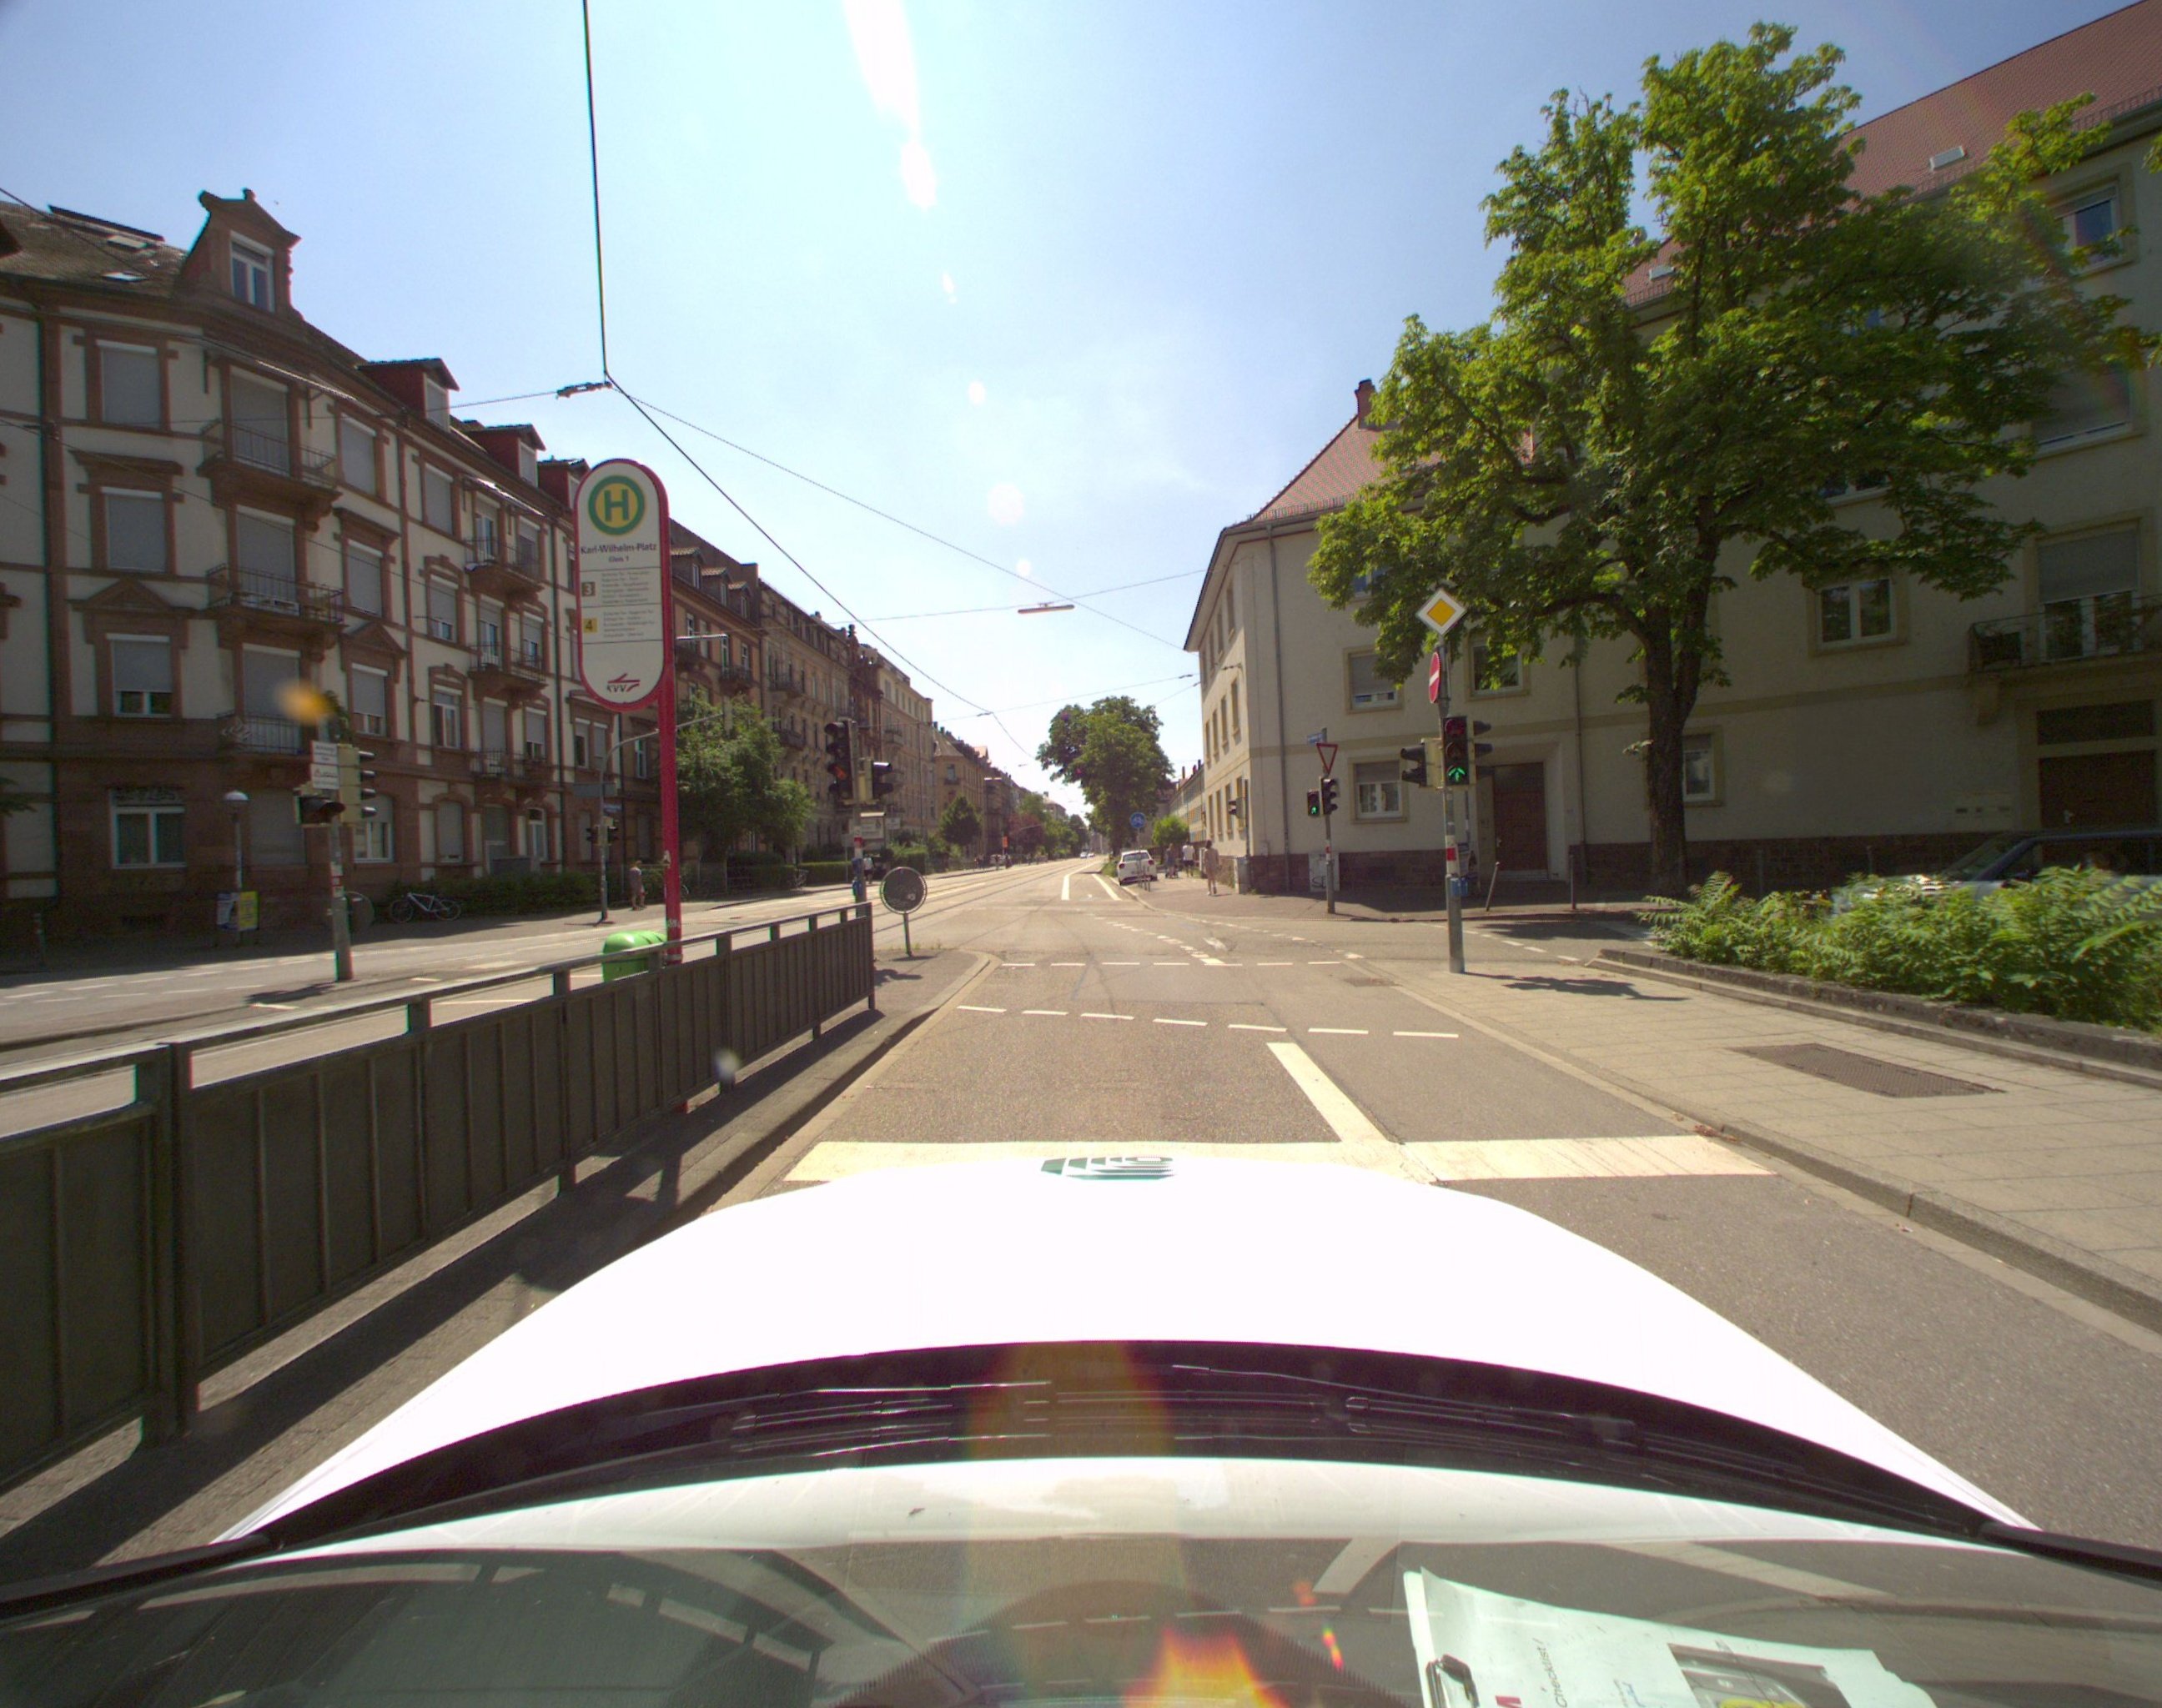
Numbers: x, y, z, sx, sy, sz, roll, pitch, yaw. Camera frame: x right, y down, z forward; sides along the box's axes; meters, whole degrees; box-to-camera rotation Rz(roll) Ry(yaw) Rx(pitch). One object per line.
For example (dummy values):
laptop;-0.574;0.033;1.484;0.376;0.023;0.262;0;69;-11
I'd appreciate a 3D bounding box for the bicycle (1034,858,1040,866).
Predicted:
bicycle;-6.254;1.070;115.850;0.579;1.078;1.892;-3;0;2

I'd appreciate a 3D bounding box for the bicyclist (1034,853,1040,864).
bicyclist;-6.282;0.664;115.870;0.590;1.544;0.953;-3;0;2

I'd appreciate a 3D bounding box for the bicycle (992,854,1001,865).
bicycle;-8.445;0.541;81.845;0.565;1.038;1.830;-2;0;3

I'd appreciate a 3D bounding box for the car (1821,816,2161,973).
car;10.231;0.372;8.513;1.705;1.445;3.581;-2;0;-45

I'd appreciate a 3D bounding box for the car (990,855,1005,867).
car;-11.842;0.978;116.145;1.861;1.600;4.098;-1;0;-2

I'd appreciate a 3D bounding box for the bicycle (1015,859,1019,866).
bicycle;-9.790;1.361;125.142;0.452;1.003;1.806;-2;0;-1

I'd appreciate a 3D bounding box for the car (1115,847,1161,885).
car;2.546;0.517;37.231;1.771;1.410;4.158;-7;0;1

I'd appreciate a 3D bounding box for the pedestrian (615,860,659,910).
pedestrian;-15.592;1.067;28.609;0.867;1.700;1.016;-2;0;8

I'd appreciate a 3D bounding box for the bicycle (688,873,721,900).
bicycle;-15.605;1.345;33.806;0.457;1.056;1.567;-2;0;6

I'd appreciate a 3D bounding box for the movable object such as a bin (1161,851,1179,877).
movable object such as a bin;4.213;0.475;38.723;0.695;1.186;1.037;-5;0;2

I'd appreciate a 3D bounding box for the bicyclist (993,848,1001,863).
bicyclist;-8.460;0.154;81.815;0.560;1.515;0.892;-2;0;3

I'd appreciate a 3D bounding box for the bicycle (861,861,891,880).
bicycle;-14.154;1.132;56.246;1.864;1.227;0.568;0;0;-1

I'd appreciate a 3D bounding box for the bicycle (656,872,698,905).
bicycle;-15.688;1.324;31.652;0.570;1.169;1.719;-2;0;6

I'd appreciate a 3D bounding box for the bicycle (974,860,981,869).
bicycle;-11.439;1.149;90.053;0.437;0.983;1.711;-2;0;1

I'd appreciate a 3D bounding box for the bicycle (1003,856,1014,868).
bicycle;-8.118;0.852;91.167;0.804;1.271;2.553;-2;0;3

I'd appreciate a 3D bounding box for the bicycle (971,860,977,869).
bicycle;-11.549;1.133;88.013;0.437;0.983;1.711;-2;0;1

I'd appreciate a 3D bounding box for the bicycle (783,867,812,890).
bicycle;-14.398;1.227;41.376;0.635;1.093;1.934;0;0;6

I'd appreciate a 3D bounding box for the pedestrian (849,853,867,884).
pedestrian;-13.567;0.860;49.580;0.812;1.857;0.877;-2;0;-3

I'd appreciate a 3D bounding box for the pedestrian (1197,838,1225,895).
pedestrian;3.938;0.359;24.675;0.695;1.669;0.756;-2;0;1

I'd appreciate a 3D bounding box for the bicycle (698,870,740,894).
bicycle;-16.286;1.238;36.655;1.639;0.996;0.495;-2;0;4

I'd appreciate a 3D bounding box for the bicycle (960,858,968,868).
bicycle;-11.878;0.908;82.874;0.495;0.987;1.711;2;0;1

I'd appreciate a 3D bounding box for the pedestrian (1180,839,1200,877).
pedestrian;5.101;0.178;38.088;0.695;1.669;0.756;-5;0;1

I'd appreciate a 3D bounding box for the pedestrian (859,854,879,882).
pedestrian;-13.146;0.881;50.491;0.899;1.700;0.829;-2;0;40

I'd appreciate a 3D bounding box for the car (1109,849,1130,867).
car;3.329;0.327;71.190;1.651;1.515;3.999;-2;0;0

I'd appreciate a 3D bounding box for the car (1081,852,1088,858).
car;0.898;0.176;212.350;1.678;1.449;4.002;-3;0;2

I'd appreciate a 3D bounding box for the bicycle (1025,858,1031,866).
bicycle;-7.547;1.137;115.706;0.626;1.078;1.876;-3;0;2

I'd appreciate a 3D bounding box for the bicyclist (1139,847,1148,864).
bicyclist;5.259;0.130;68.785;0.707;1.452;1.011;-2;0;5

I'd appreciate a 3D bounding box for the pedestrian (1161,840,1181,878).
pedestrian;4.164;0.241;37.768;0.695;1.669;0.869;-5;0;1

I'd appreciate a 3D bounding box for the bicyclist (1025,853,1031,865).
bicyclist;-7.581;0.699;115.666;0.631;1.584;1.029;-3;0;2

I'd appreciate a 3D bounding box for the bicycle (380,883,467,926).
bicycle;-19.455;1.474;24.142;0.461;1.107;1.936;-2;0;41

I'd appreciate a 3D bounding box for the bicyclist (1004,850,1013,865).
bicyclist;-8.144;0.410;91.135;0.804;1.629;0.981;-2;0;3
